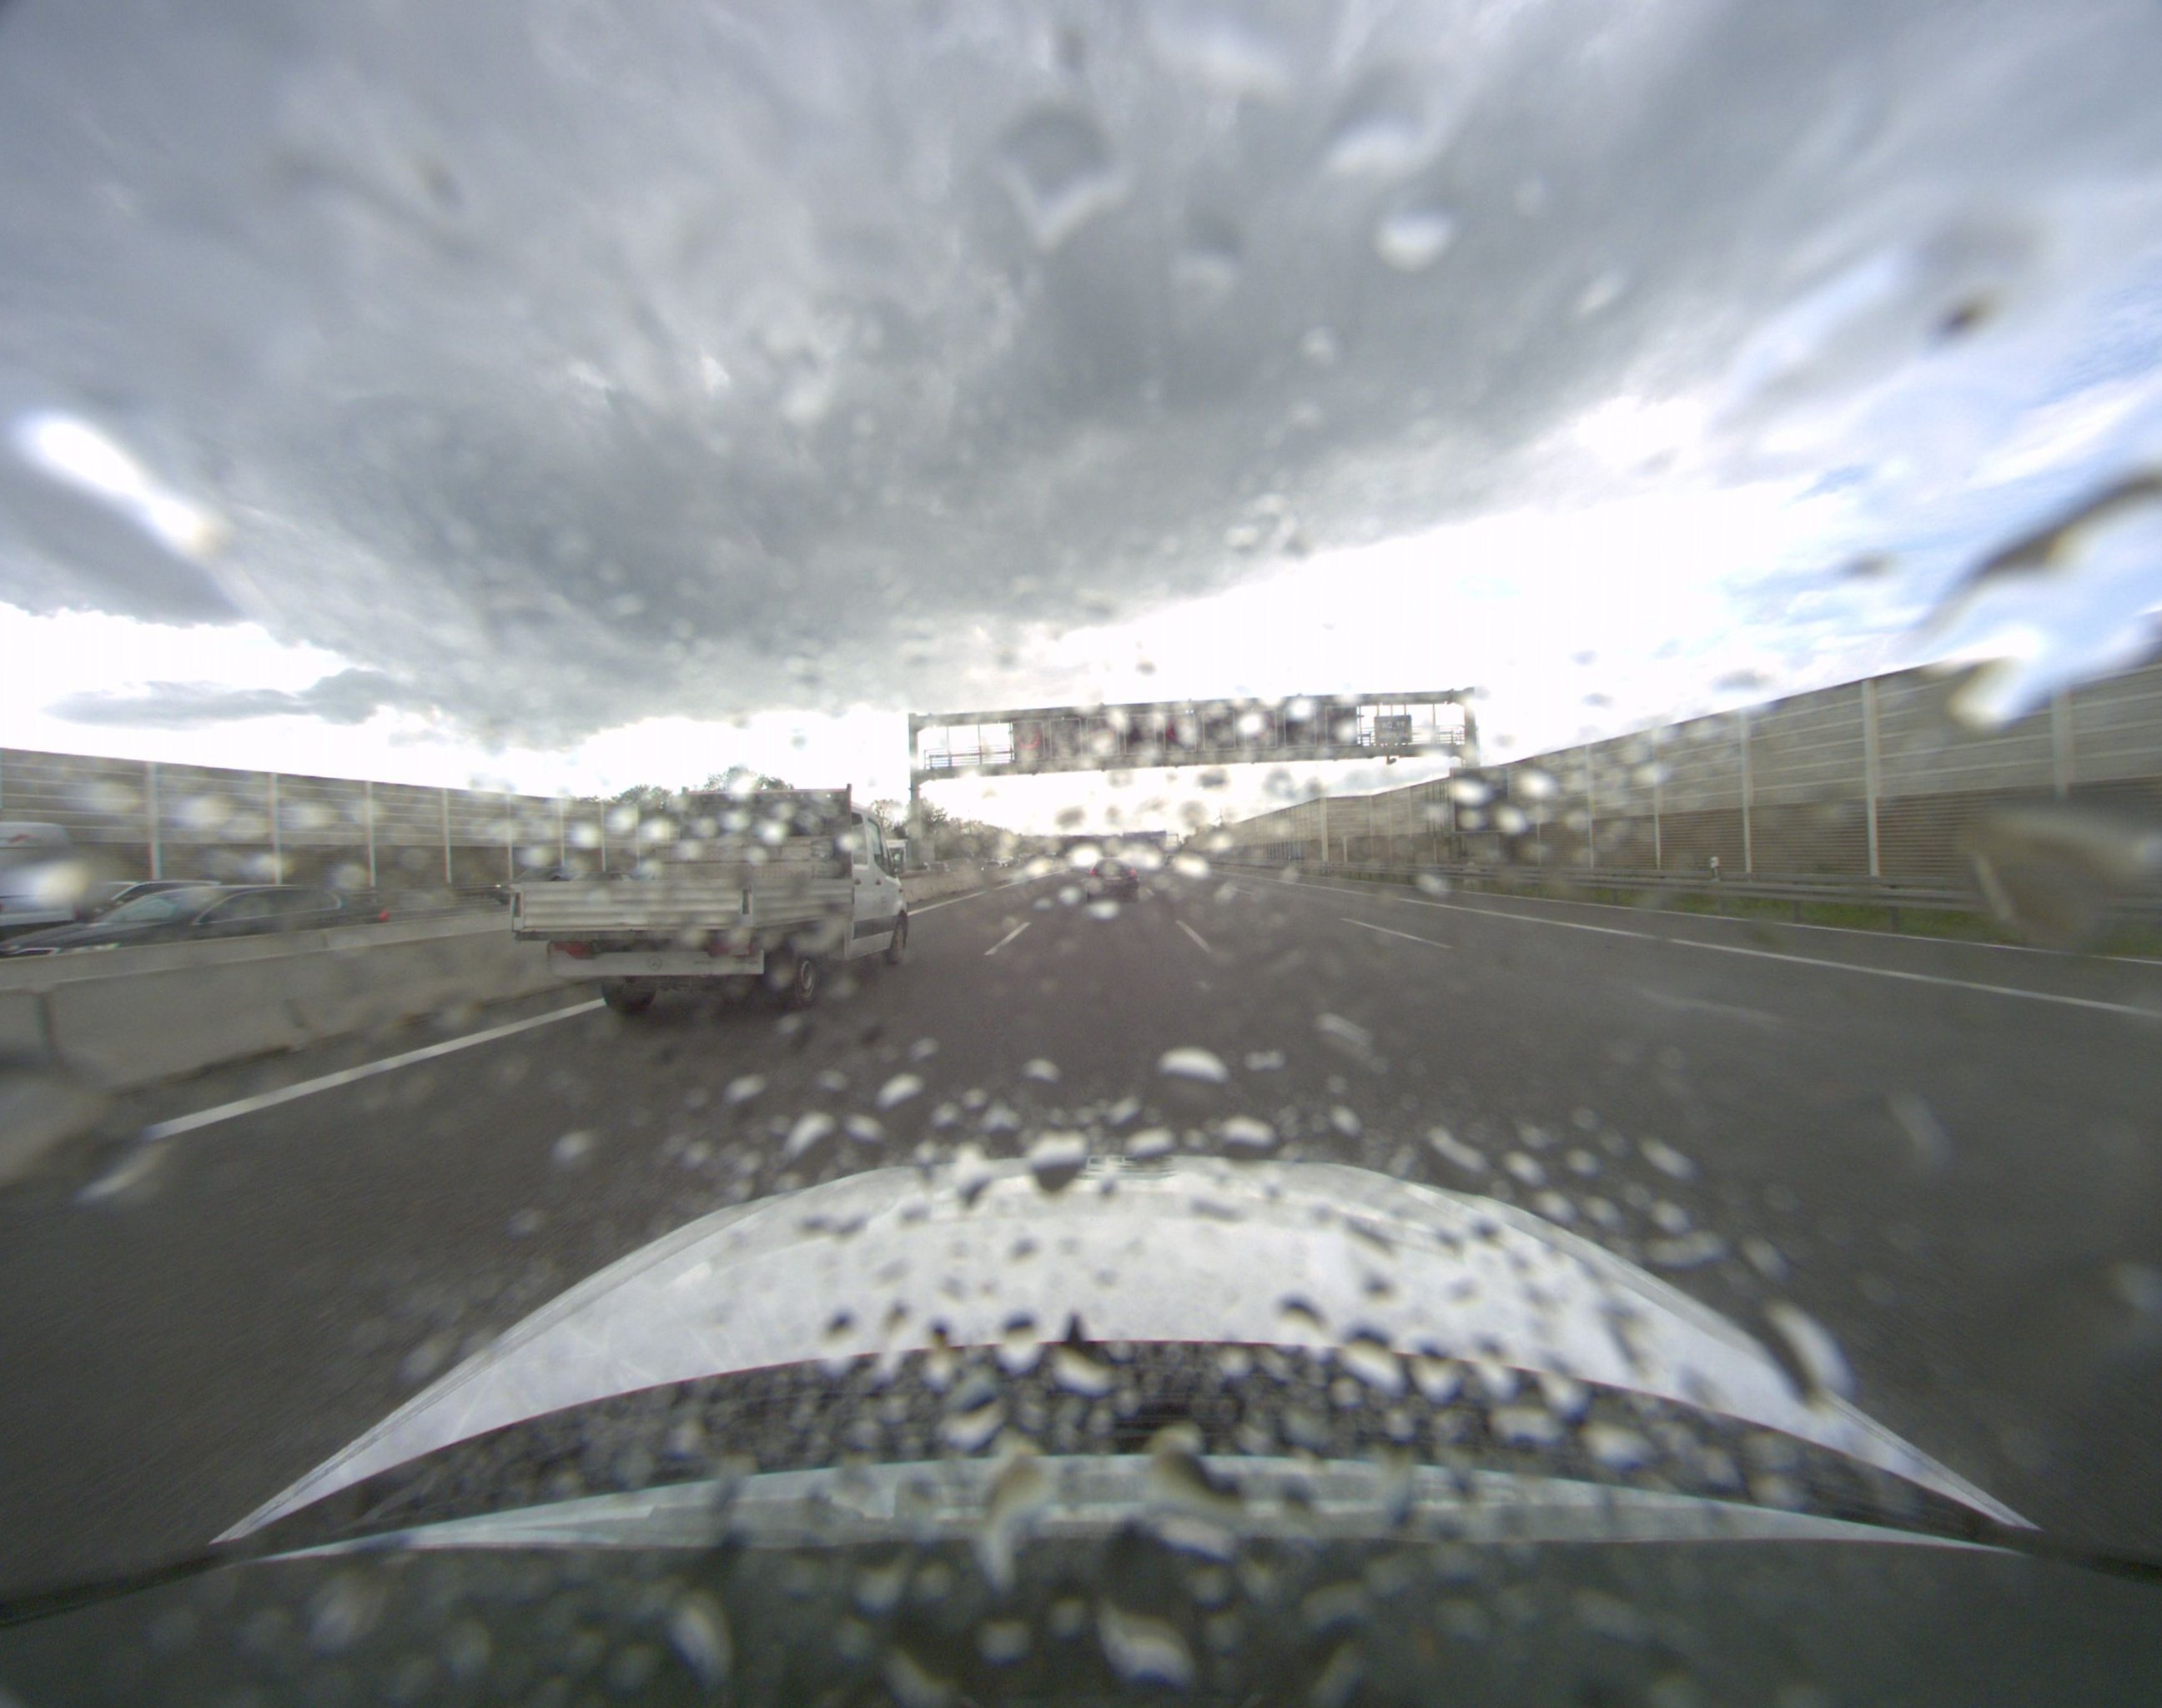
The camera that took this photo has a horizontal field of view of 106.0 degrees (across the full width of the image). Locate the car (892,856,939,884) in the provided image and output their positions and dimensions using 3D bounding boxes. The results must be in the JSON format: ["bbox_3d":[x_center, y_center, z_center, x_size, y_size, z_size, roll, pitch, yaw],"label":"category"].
[{"bbox_3d":[-11.737,1.090,58.085,2.051,1.880,5.001,-1,0,3],"label":"car"}]

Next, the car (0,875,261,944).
[{"bbox_3d":[-25.356,1.381,21.547,2.051,1.491,5.001,-1,0,3],"label":"car"}]

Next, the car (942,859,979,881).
[{"bbox_3d":[-10.898,1.395,74.102,2.051,1.880,6.333,-1,0,3],"label":"car"}]

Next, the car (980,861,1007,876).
[{"bbox_3d":[-9.906,1.635,92.573,2.051,1.535,5.474,-1,0,3],"label":"car"}]

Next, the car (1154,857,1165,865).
[{"bbox_3d":[15.647,1.366,162.762,1.875,1.561,4.436,-2,-1,3],"label":"car"}]

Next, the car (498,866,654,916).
[{"bbox_3d":[-17.251,1.219,28.213,2.051,1.491,5.001,-1,0,3],"label":"car"}]

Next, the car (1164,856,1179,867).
[{"bbox_3d":[13.609,1.101,122.835,1.875,1.542,4.436,-2,-1,3],"label":"car"}]

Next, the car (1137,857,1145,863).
[{"bbox_3d":[14.991,1.474,203.424,1.960,1.561,4.436,-2,-1,3],"label":"car"}]

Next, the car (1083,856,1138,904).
[{"bbox_3d":[1.011,0.822,27.652,1.710,1.417,4.281,-1,0,2],"label":"car"}]

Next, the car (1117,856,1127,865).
[{"bbox_3d":[8.162,1.327,160.656,1.960,1.561,4.436,-2,-1,3],"label":"car"}]

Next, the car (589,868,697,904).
[{"bbox_3d":[-20.192,1.424,37.854,2.051,1.491,5.001,-1,0,3],"label":"car"}]

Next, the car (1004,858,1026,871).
[{"bbox_3d":[-8.782,1.438,108.758,2.051,1.645,5.384,-1,0,3],"label":"car"}]

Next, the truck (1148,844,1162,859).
[{"bbox_3d":[19.101,-0.585,209.864,3.139,3.601,12.710,0,0,3],"label":"truck"}]

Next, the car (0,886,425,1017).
[{"bbox_3d":[-13.568,1.359,12.937,2.051,1.491,5.001,-1,0,3],"label":"car"}]

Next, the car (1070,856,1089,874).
[{"bbox_3d":[-0.145,1.083,81.792,1.710,1.624,4.281,-1,0,2],"label":"car"}]

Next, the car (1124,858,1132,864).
[{"bbox_3d":[13.016,1.921,224.701,1.960,1.561,4.435,-2,-1,2],"label":"car"}]

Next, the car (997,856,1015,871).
[{"bbox_3d":[-12.110,1.549,131.599,2.051,2.236,5.899,-1,0,3],"label":"car"}]

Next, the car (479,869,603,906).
[{"bbox_3d":[-24.251,1.460,36.841,2.051,1.491,5.001,-1,0,3],"label":"car"}]

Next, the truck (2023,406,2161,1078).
[{"bbox_3d":[7.832,-0.688,2.724,2.735,4.035,5.727,-1,0,1],"label":"truck"}]

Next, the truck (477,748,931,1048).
[{"bbox_3d":[-3.768,0.344,10.291,2.299,2.439,7.148,-1,0,1],"label":"truck"}]

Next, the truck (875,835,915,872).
[{"bbox_3d":[-21.497,-0.042,94.208,2.960,4.035,5.730,-1,0,3],"label":"truck"}]

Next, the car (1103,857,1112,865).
[{"bbox_3d":[6.040,1.597,184.042,1.960,1.561,4.436,-2,-1,3],"label":"car"}]

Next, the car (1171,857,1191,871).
[{"bbox_3d":[10.600,1.038,86.555,1.941,1.418,4.236,-2,-1,4],"label":"car"}]

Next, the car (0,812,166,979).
[{"bbox_3d":[-17.707,0.647,11.031,2.373,2.550,7.092,-1,0,3],"label":"car"}]
